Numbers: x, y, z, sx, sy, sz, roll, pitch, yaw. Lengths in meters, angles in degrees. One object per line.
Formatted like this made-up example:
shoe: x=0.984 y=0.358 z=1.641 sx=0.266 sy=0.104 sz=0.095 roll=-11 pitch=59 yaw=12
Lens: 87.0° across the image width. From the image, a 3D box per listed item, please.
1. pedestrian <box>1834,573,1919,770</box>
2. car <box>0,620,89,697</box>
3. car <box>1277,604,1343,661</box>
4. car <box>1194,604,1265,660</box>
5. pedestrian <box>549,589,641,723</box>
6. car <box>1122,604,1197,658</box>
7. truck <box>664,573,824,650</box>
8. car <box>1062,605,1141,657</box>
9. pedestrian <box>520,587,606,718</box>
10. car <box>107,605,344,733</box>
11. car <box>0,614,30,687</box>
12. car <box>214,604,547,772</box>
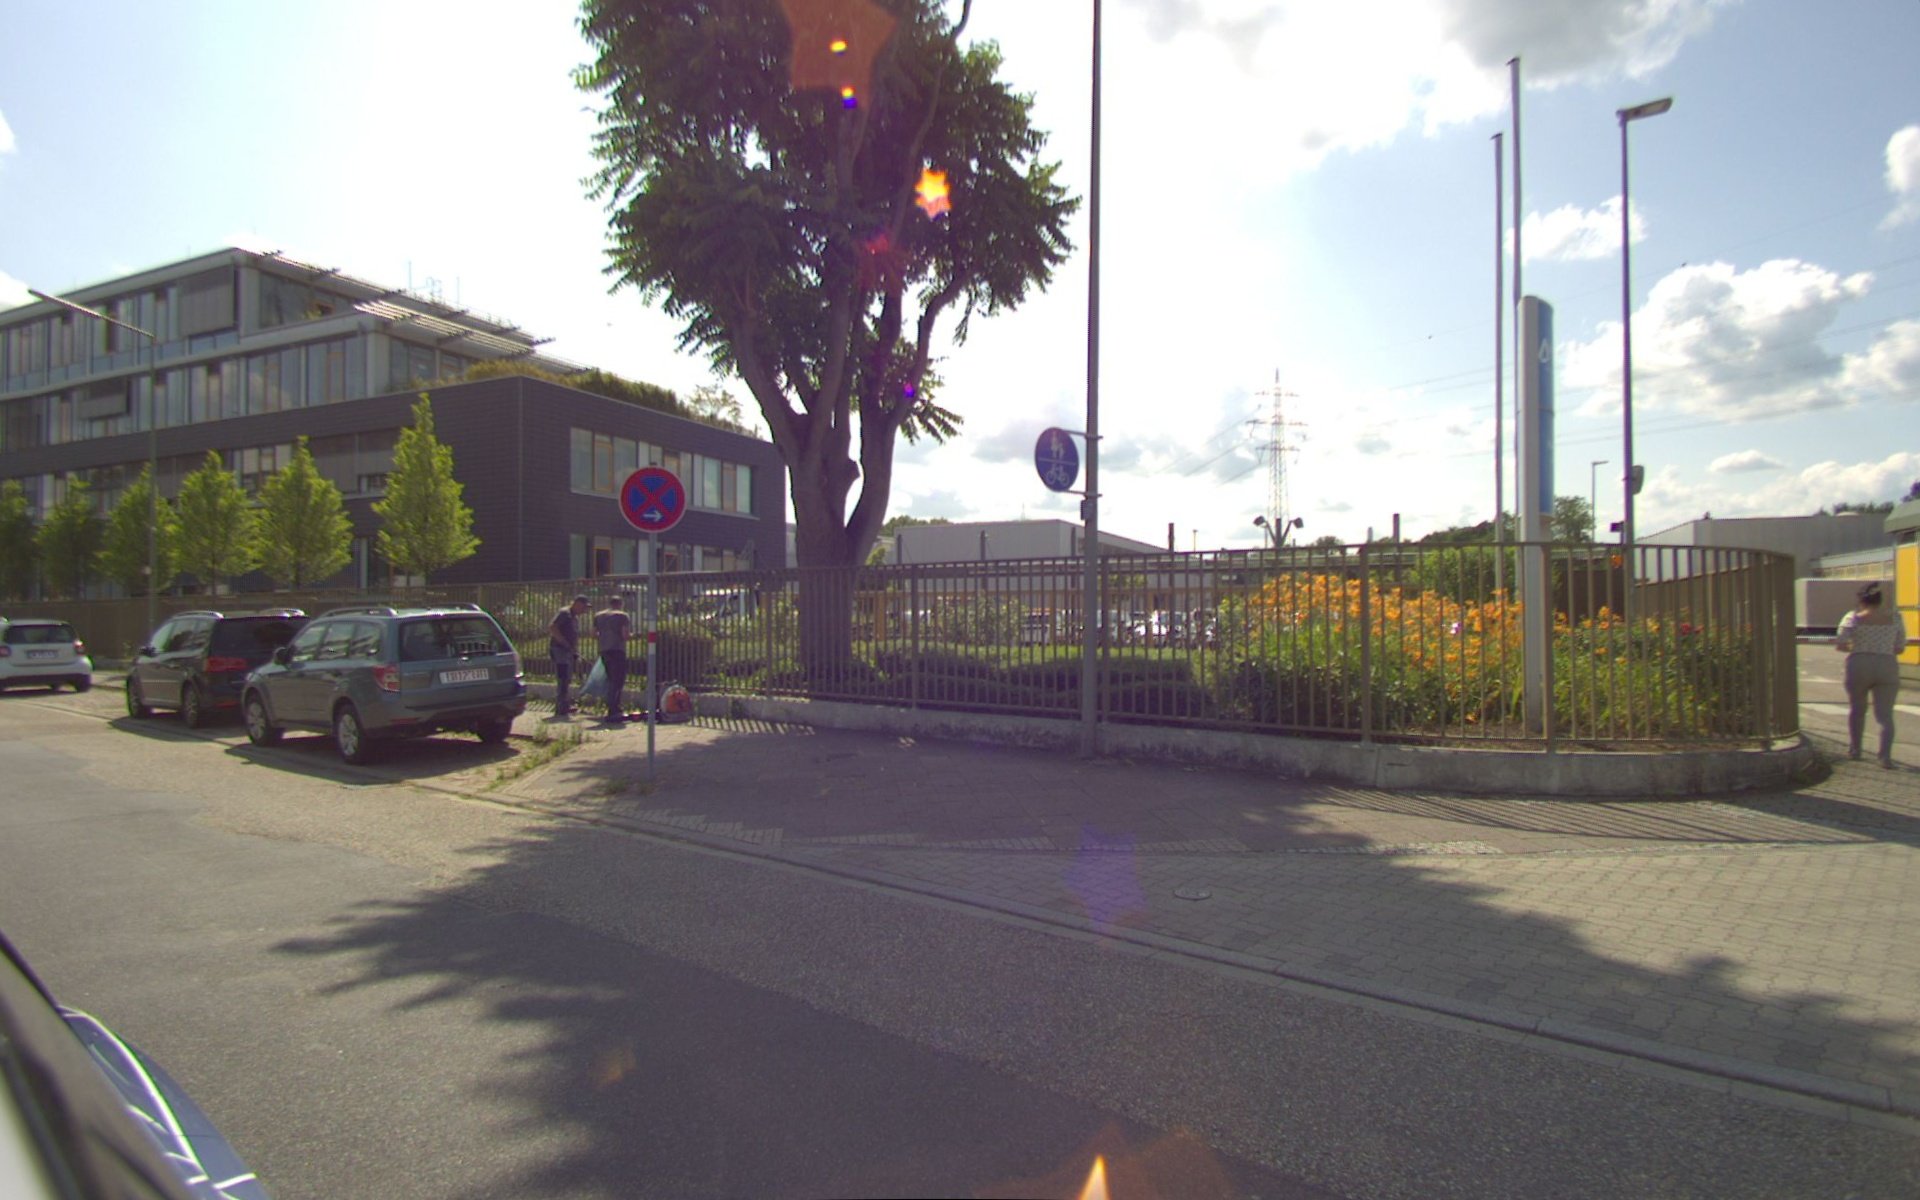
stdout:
pedestrian: x=8.372 y=0.619 z=9.104 sx=0.734 sy=1.704 sz=0.541 roll=1 pitch=0 yaw=44
car: x=-20.189 y=1.204 z=21.631 sx=3.065 sy=1.534 sz=1.595 roll=-1 pitch=-1 yaw=33
car: x=11.697 y=1.035 z=33.657 sx=1.737 sy=1.701 sz=3.968 roll=-1 pitch=0 yaw=24
car: x=9.297 y=1.035 z=34.765 sx=1.749 sy=1.739 sz=4.041 roll=-1 pitch=0 yaw=24
pedestrian: x=-4.870 y=0.710 z=13.501 sx=0.831 sy=1.704 sz=0.833 roll=-1 pitch=0 yaw=43
car: x=7.064 y=1.050 z=35.582 sx=1.737 sy=1.701 sz=3.968 roll=-1 pitch=0 yaw=24
truck: x=-8.100 y=0.452 z=38.849 sx=2.391 sy=2.678 sz=6.876 roll=-1 pitch=-1 yaw=25
car: x=5.188 y=1.079 z=36.786 sx=1.738 sy=1.701 sz=3.966 roll=-1 pitch=0 yaw=25
pedestrian: x=-5.624 y=0.720 z=14.348 sx=0.845 sy=1.774 sz=0.819 roll=-1 pitch=0 yaw=43
car: x=-11.455 y=0.964 z=15.691 sx=4.222 sy=1.695 sz=1.760 roll=-1 pitch=0 yaw=36
car: x=-24.059 y=1.199 z=24.074 sx=4.295 sy=1.668 sz=1.721 roll=-1 pitch=-1 yaw=31
car: x=-7.152 y=0.919 z=12.298 sx=4.681 sy=1.663 sz=1.783 roll=-1 pitch=0 yaw=36
